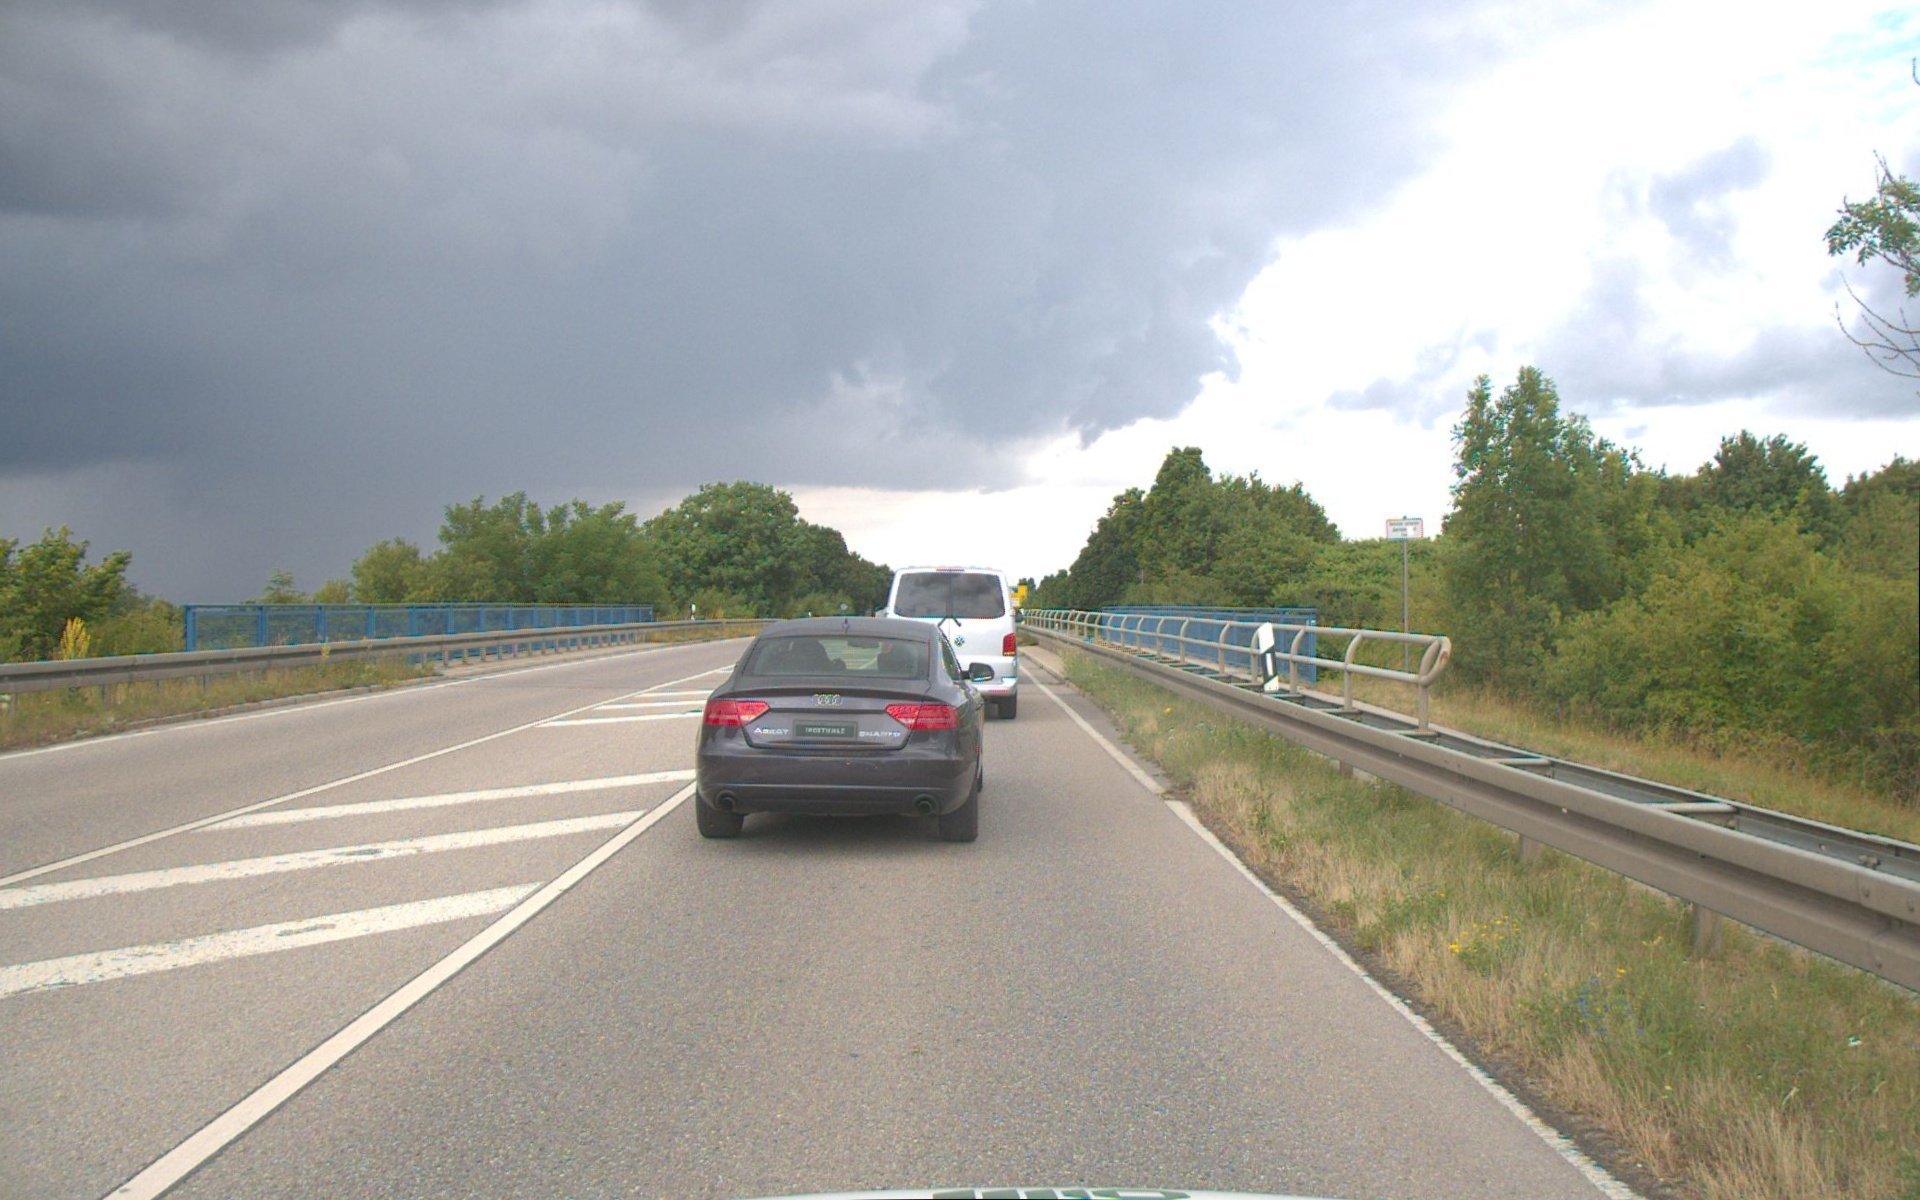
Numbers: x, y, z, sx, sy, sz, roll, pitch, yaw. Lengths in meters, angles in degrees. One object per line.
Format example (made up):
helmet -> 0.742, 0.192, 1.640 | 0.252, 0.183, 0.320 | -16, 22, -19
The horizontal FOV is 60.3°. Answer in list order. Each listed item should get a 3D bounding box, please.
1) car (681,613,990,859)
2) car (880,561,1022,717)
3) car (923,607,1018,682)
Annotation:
car -> -0.689, 0.802, 11.570 | 1.784, 1.405, 4.072 | 0, 0, 1
car -> -0.122, 0.510, 22.941 | 1.791, 1.969, 3.999 | 0, 0, 0
car -> 0.228, 0.854, 33.369 | 1.784, 1.405, 4.072 | 0, 0, 1
